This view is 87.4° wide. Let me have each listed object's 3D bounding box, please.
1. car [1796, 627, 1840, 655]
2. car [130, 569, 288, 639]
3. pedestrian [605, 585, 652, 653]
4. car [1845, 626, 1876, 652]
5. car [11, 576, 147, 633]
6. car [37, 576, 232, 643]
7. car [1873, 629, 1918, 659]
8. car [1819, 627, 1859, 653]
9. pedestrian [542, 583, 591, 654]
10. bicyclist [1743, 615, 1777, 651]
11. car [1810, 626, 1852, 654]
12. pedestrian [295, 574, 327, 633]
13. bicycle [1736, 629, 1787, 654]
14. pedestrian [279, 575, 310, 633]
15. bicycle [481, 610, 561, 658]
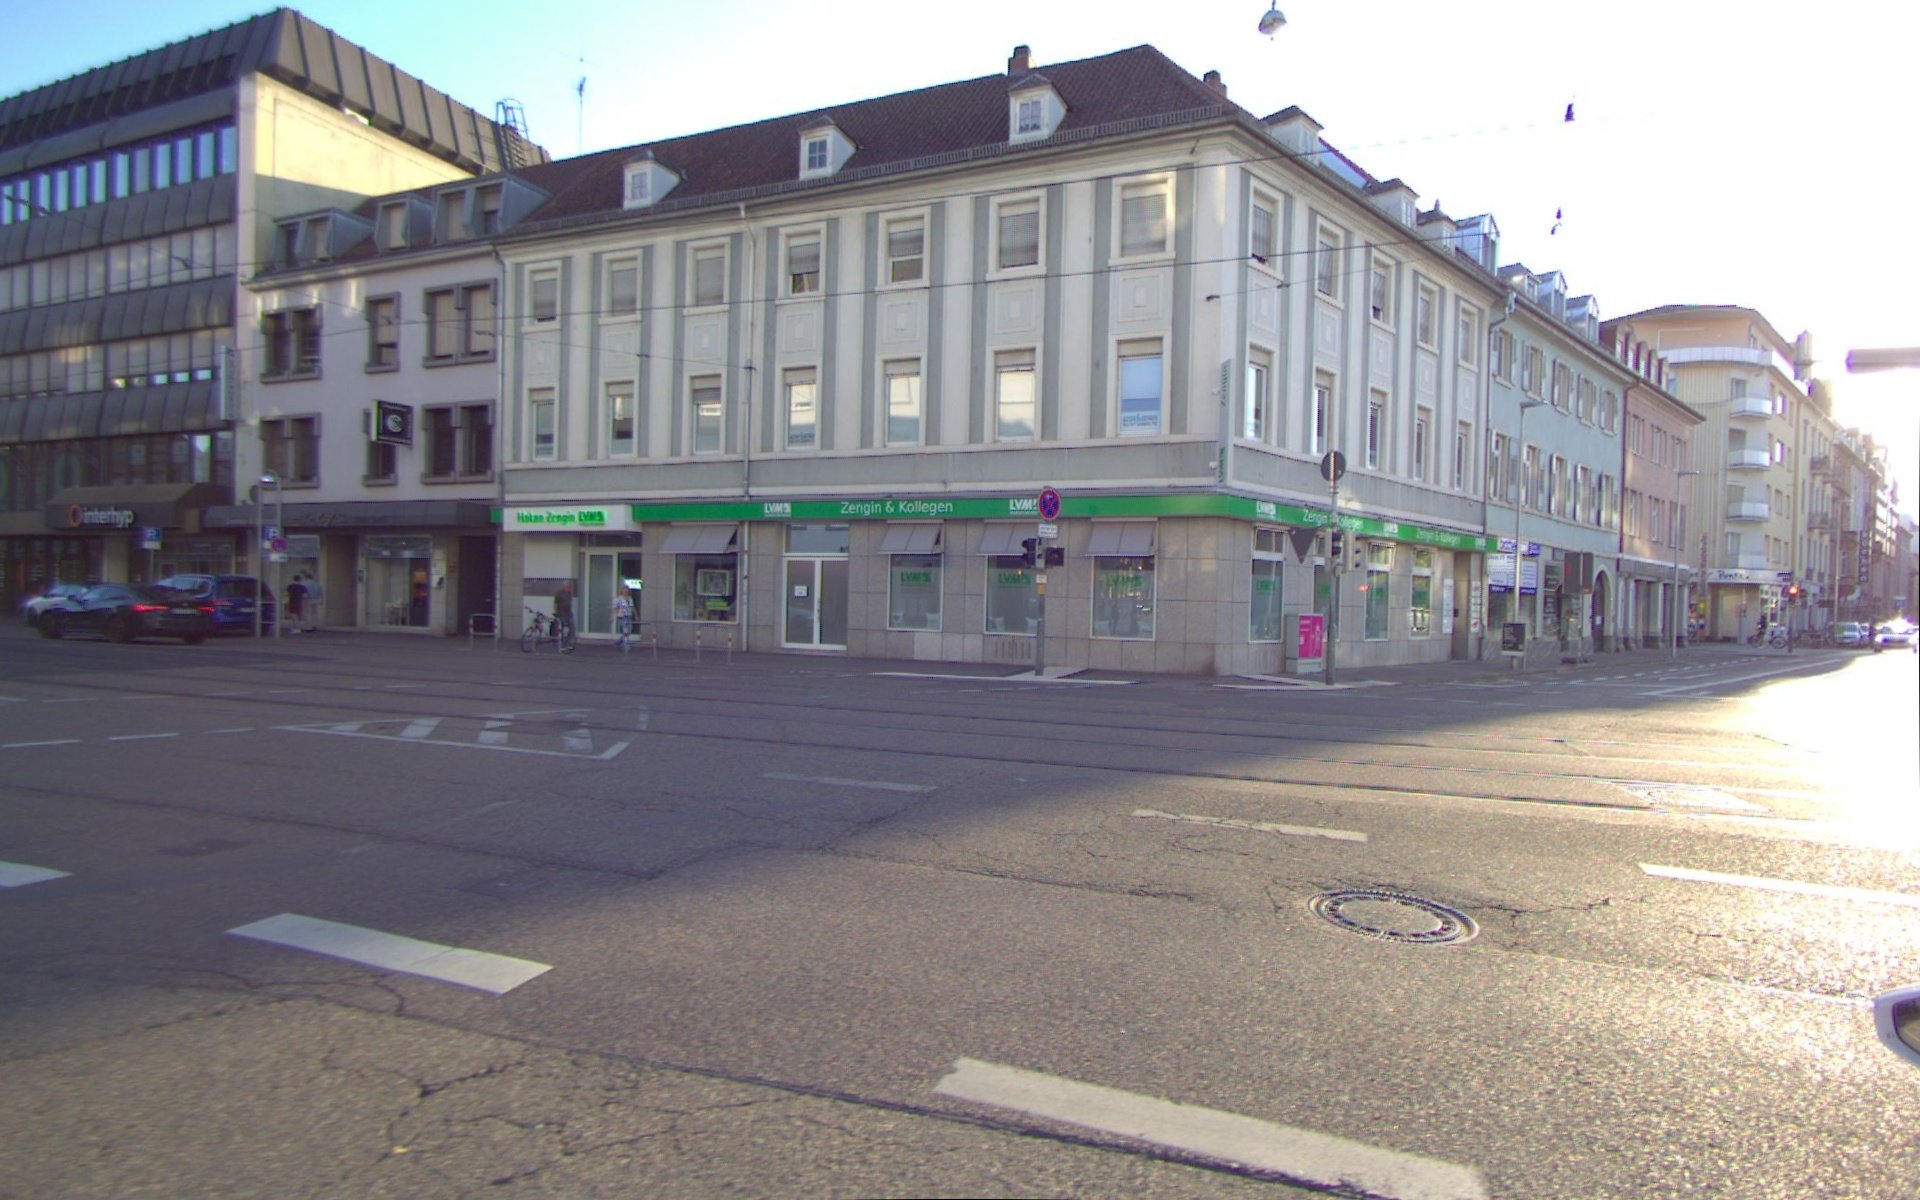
[{"bbox_3d":[48.139,2.266,56.353,3.329,1.503,1.530,2,-1,-43],"label":"car"},{"bbox_3d":[-21.722,0.079,29.053,4.050,1.820,1.915,2,2,23],"label":"car"},{"bbox_3d":[-8.360,0.469,25.330,0.801,1.662,0.824,1,1,40],"label":"pedestrian"},{"bbox_3d":[59.545,2.584,66.416,2.869,1.603,1.294,2,0,-43],"label":"car"},{"bbox_3d":[-27.735,0.118,31.610,3.923,1.645,1.701,1,0,23],"label":"car"},{"bbox_3d":[-20.387,0.193,24.813,4.455,1.500,1.895,1,1,23],"label":"car"},{"bbox_3d":[49.716,2.323,53.349,3.329,1.487,1.530,3,0,-43],"label":"car"},{"bbox_3d":[54.418,2.484,62.166,3.329,1.488,1.530,3,0,-43],"label":"car"},{"bbox_3d":[-9.974,0.455,25.462,0.798,1.752,0.827,2,1,24],"label":"pedestrian"},{"bbox_3d":[42.756,1.743,53.672,0.754,1.814,1.126,3,1,-24],"label":"bicyclist"},{"bbox_3d":[50.901,2.354,58.687,3.329,1.488,1.530,3,0,-43],"label":"car"},{"bbox_3d":[-20.051,0.105,31.041,0.589,1.757,0.516,3,1,24],"label":"pedestrian"},{"bbox_3d":[42.768,2.201,53.623,0.493,1.220,2.112,3,1,-24],"label":"bicycle"},{"bbox_3d":[-20.181,0.127,30.452,0.572,1.707,0.509,3,1,23],"label":"pedestrian"},{"bbox_3d":[-10.409,0.792,23.873,0.490,1.073,1.738,2,0,32],"label":"bicycle"}]
